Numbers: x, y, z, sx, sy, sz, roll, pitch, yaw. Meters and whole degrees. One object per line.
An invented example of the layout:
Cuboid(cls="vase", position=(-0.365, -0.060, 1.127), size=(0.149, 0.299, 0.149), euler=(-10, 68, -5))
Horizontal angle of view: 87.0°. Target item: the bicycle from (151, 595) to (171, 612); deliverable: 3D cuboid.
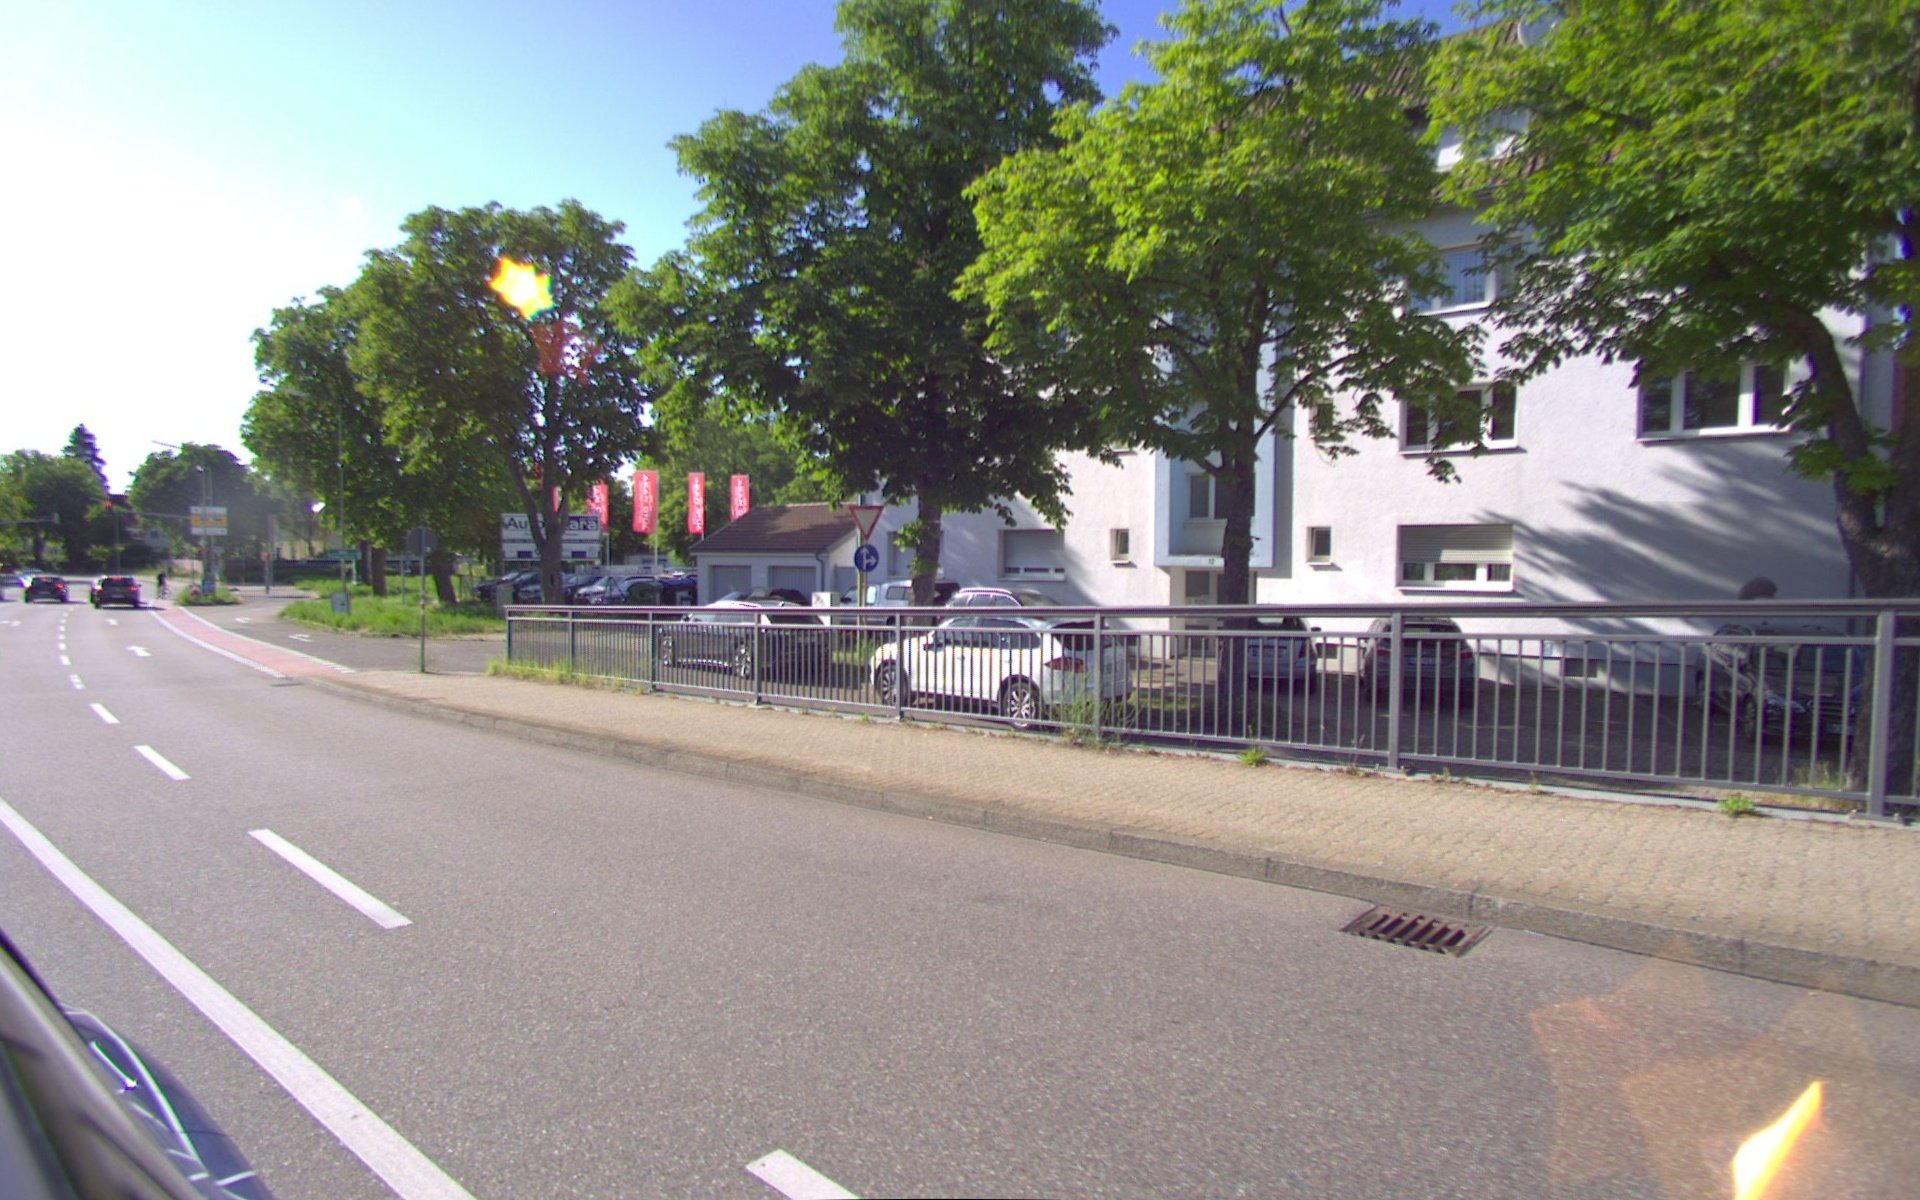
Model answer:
Cuboid(cls="bicycle", position=(-50.329, 0.194, 63.773), size=(0.925, 1.024, 2.201), euler=(-1, 2, -38))

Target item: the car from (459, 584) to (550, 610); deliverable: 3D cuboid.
Cuboid(cls="car", position=(-23.711, -0.174, 52.799), size=(2.034, 1.249, 3.897), euler=(0, 2, 27))

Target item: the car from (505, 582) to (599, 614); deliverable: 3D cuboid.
Cuboid(cls="car", position=(-19.706, -0.139, 49.028), size=(1.938, 1.423, 3.842), euler=(0, 2, 29))

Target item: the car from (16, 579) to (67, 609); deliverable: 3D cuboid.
Cuboid(cls="car", position=(-51.901, -0.340, 57.169), size=(4.002, 1.611, 1.891), euler=(1, 0, 45))

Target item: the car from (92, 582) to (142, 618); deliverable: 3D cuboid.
Cuboid(cls="car", position=(-43.663, -0.027, 52.395), size=(1.830, 1.749, 4.276), euler=(-1, 1, -41))

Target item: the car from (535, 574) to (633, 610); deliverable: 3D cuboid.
Cuboid(cls="car", position=(-17.295, -0.389, 46.699), size=(1.990, 1.572, 3.964), euler=(0, 2, 27))

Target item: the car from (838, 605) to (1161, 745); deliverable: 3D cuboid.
Cuboid(cls="car", position=(0.485, 1.053, 16.580), size=(5.236, 1.741, 2.016), euler=(2, 3, 42))

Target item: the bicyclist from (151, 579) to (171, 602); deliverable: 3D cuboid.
Cuboid(cls="bicyclist", position=(-50.211, -0.600, 63.606), size=(0.921, 1.412, 0.824), euler=(-1, 2, -39))

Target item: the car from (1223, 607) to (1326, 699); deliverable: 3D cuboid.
Cuboid(cls="car", position=(6.102, 0.950, 19.927), size=(1.768, 1.521, 3.652), euler=(0, 1, 15))

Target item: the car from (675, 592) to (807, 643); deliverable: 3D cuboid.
Cuboid(cls="car", position=(-7.084, 0.512, 33.035), size=(1.906, 1.439, 3.949), euler=(3, 3, 38))

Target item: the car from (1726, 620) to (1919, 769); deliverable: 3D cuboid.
Cuboid(cls="car", position=(12.120, 1.180, 14.274), size=(1.894, 1.595, 3.966), euler=(0, 2, 35))

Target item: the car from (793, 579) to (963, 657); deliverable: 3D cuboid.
Cuboid(cls="car", position=(-2.373, 0.400, 28.069), size=(5.104, 1.944, 1.728), euler=(2, 2, 43))

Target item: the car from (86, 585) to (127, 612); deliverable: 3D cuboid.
Cuboid(cls="car", position=(-49.289, -0.115, 58.474), size=(1.762, 1.425, 3.897), euler=(-1, 2, -40))

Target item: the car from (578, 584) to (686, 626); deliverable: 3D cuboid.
Cuboid(cls="car", position=(-13.625, 0.160, 42.337), size=(1.804, 1.587, 4.371), euler=(0, 2, 25))

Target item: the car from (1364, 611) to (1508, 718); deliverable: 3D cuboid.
Cuboid(cls="car", position=(8.327, 1.027, 18.055), size=(1.985, 1.610, 3.973), euler=(0, 0, 21))

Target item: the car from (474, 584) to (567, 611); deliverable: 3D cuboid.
Cuboid(cls="car", position=(-21.911, -0.133, 50.561), size=(2.034, 1.249, 3.897), euler=(0, 2, 27))

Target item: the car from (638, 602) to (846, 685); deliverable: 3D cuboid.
Cuboid(cls="car", position=(-4.857, 0.847, 22.066), size=(4.963, 1.475, 2.015), euler=(2, 2, 44))

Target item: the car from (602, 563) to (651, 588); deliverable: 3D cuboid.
Cuboid(cls="car", position=(-20.910, -1.540, 63.382), size=(1.717, 1.472, 4.009), euler=(-1, 2, -38))

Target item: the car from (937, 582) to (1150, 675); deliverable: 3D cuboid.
Cuboid(cls="car", position=(1.910, 0.567, 24.170), size=(4.784, 1.944, 2.048), euler=(2, 2, 40))

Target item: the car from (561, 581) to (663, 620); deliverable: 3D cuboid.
Cuboid(cls="car", position=(-15.403, -0.012, 44.981), size=(1.917, 1.623, 3.954), euler=(0, 2, 34))
